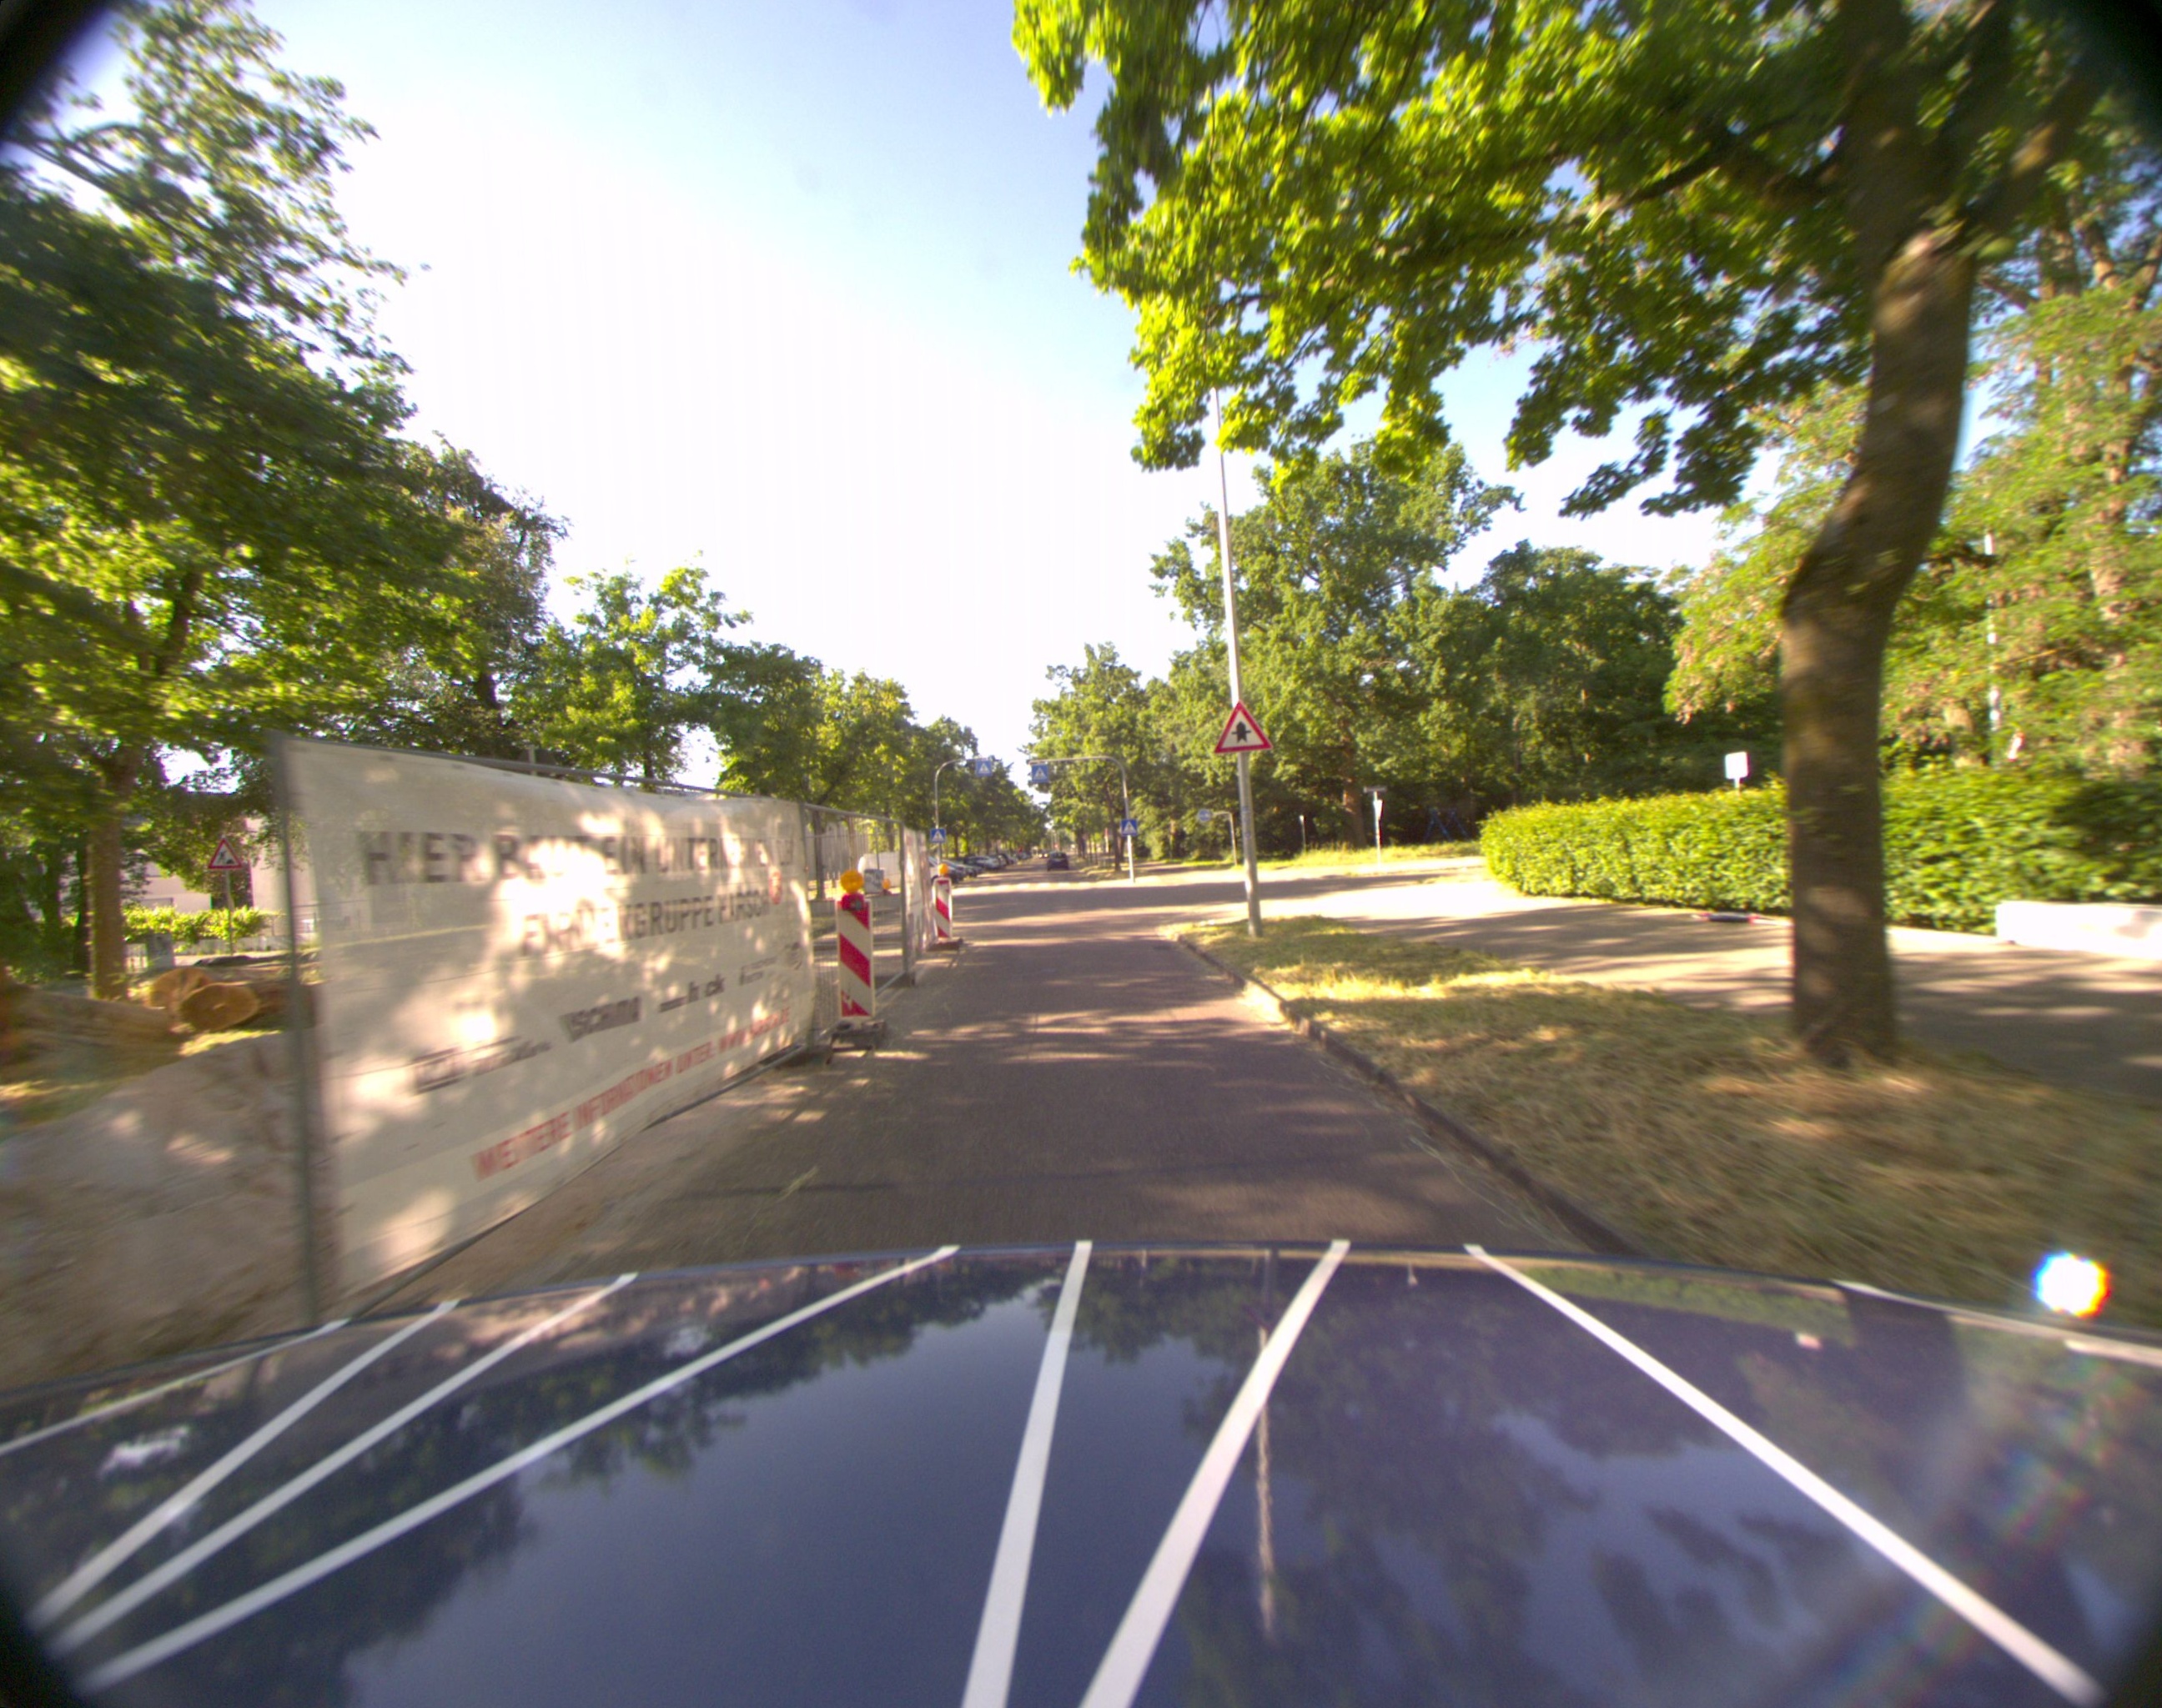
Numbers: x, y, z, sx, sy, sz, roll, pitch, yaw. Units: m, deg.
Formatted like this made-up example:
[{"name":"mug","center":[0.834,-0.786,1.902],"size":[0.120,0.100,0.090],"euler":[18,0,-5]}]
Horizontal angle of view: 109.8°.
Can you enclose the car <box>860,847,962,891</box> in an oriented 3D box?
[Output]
[{"name":"car","center":[-9.174,0.788,41.378],"size":[5.046,2.069,1.890],"euler":[-3,1,-2]}]

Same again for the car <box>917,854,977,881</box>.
[{"name":"car","center":[-9.853,0.988,56.158],"size":[4.020,1.669,1.532],"euler":[-4,1,0]}]

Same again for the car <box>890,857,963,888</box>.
[{"name":"car","center":[-9.420,1.107,46.491],"size":[3.997,1.554,1.757],"euler":[-4,1,0]}]

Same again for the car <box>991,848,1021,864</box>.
[{"name":"car","center":[-10.623,0.283,108.204],"size":[3.997,1.838,1.863],"euler":[-4,1,-1]}]

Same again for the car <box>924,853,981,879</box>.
[{"name":"car","center":[-9.991,0.929,59.163],"size":[4.020,1.650,1.532],"euler":[-4,1,0]}]

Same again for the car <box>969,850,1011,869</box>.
[{"name":"car","center":[-10.270,0.626,85.554],"size":[4.395,1.733,1.532],"euler":[-4,1,0]}]

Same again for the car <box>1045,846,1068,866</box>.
[{"name":"car","center":[-2.066,0.170,65.606],"size":[1.826,1.616,4.491],"euler":[-2,1,-1]}]

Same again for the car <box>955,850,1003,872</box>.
[{"name":"car","center":[-9.944,0.653,74.292],"size":[4.395,1.733,1.532],"euler":[-4,1,0]}]

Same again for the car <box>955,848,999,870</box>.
[{"name":"car","center":[-11.179,0.513,81.679],"size":[4.395,1.977,1.532],"euler":[-4,1,0]}]

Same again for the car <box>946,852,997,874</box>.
[{"name":"car","center":[-10.223,0.848,71.256],"size":[4.395,1.632,1.532],"euler":[-4,1,0]}]

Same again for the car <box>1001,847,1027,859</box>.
[{"name":"car","center":[-11.402,-0.166,129.186],"size":[4.152,1.838,1.949],"euler":[-4,1,-1]}]

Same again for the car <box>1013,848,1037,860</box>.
[{"name":"car","center":[-10.399,-0.014,140.452],"size":[4.152,1.838,1.949],"euler":[-4,1,-1]}]
